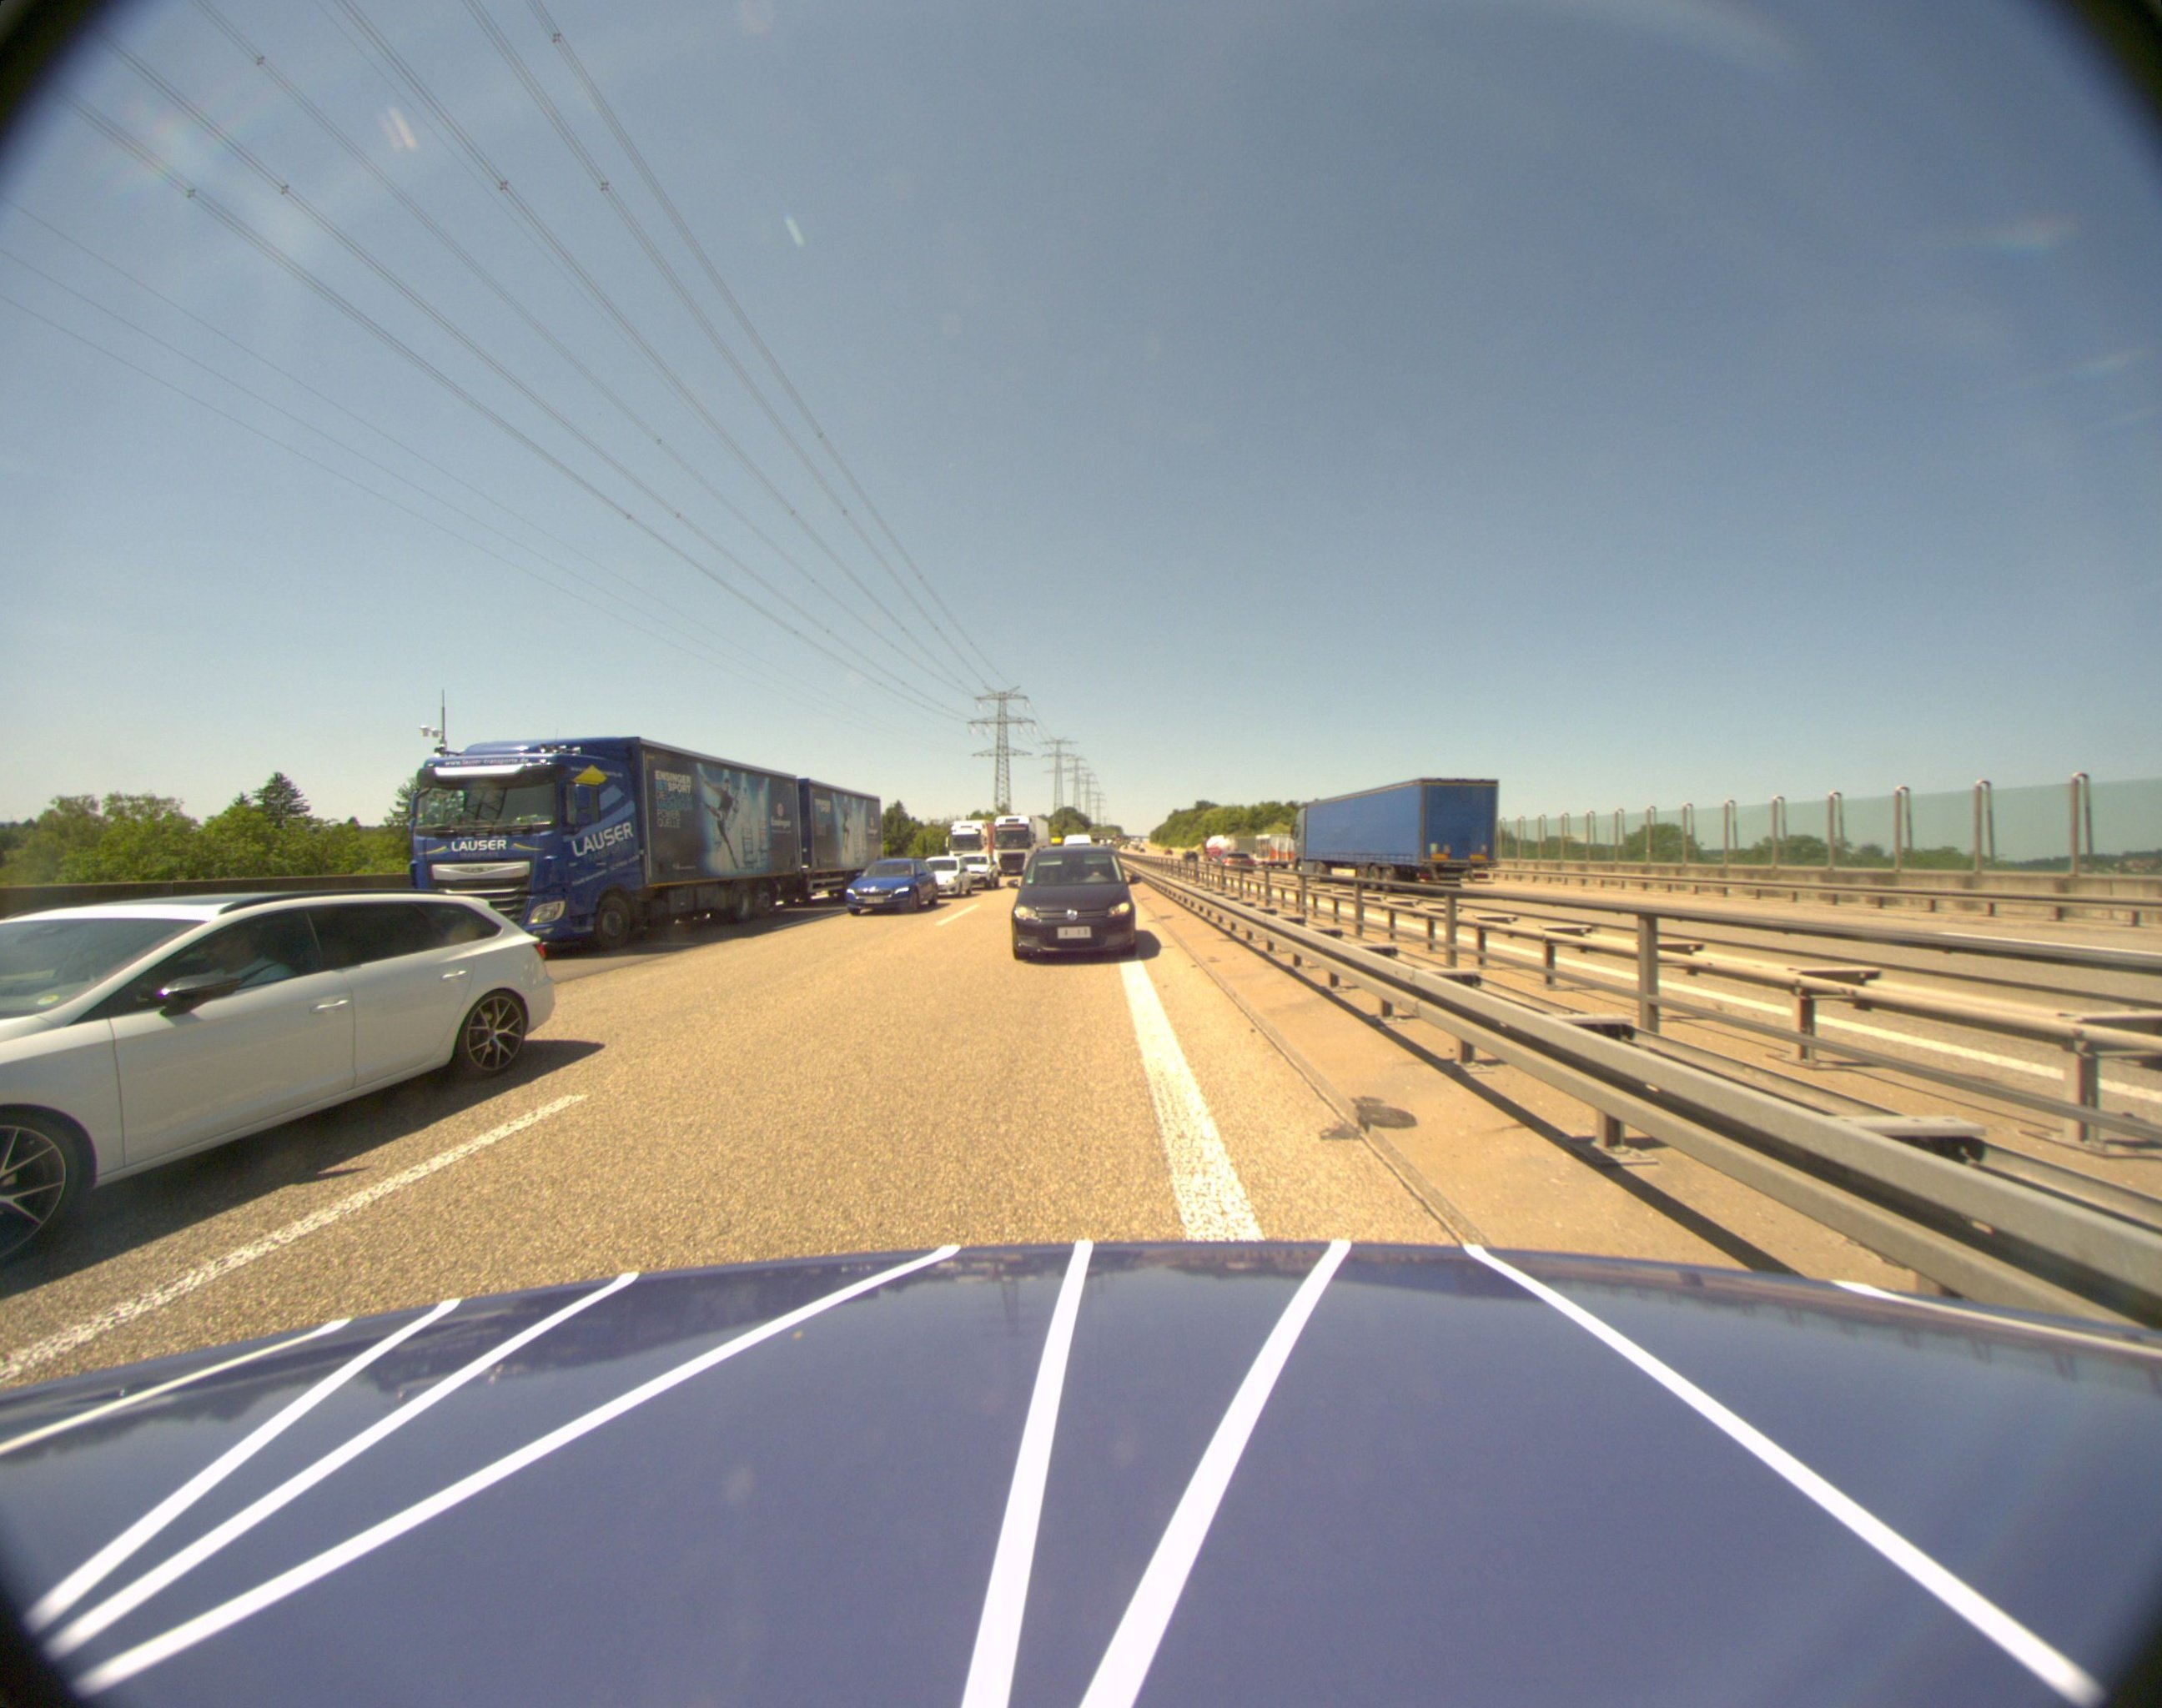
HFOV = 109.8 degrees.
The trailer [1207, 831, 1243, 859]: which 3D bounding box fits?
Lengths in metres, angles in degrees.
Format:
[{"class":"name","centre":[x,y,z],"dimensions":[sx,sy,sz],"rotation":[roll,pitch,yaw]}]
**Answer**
[{"class":"trailer","centre":[18.719,-1.200,99.566],"dimensions":[2.883,3.360,12.006],"rotation":[1,1,2]}]

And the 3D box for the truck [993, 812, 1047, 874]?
[{"class":"truck","centre":[-4.060,-0.770,52.390],"dimensions":[2.849,3.804,8.263],"rotation":[-2,1,1]}]

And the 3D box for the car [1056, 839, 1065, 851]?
[{"class":"car","centre":[-4.474,-1.998,167.064],"dimensions":[1.704,2.525,3.999],"rotation":[2,1,1]}]

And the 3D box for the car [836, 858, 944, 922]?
[{"class":"car","centre":[-5.205,0.910,21.401],"dimensions":[1.712,1.443,4.563],"rotation":[-2,1,2]}]

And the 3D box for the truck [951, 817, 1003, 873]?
[{"class":"truck","centre":[-7.917,-0.718,58.686],"dimensions":[2.608,3.965,8.263],"rotation":[-2,1,1]}]

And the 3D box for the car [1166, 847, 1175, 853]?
[{"class":"car","centre":[21.882,-0.955,185.350],"dimensions":[1.786,1.412,3.999],"rotation":[2,1,1]}]

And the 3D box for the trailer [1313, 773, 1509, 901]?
[{"class":"trailer","centre":[12.518,-0.640,30.652],"dimensions":[2.711,4.142,12.047],"rotation":[0,1,0]}]

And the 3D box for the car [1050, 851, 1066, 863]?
[{"class":"car","centre":[-3.140,0.364,105.050],"dimensions":[1.924,1.501,3.996],"rotation":[-2,1,2]}]

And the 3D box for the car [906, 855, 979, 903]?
[{"class":"car","centre":[-4.933,0.843,27.552],"dimensions":[1.712,1.443,4.144],"rotation":[-2,1,2]}]

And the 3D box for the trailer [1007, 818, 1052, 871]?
[{"class":"trailer","centre":[-4.007,-0.812,61.089],"dimensions":[2.822,3.830,9.083],"rotation":[-2,1,1]}]

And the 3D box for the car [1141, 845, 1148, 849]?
[{"class":"car","centre":[19.514,-2.148,232.741],"dimensions":[1.704,1.412,3.999],"rotation":[2,1,1]}]

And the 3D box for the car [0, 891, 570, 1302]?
[{"class":"car","centre":[-5.115,1.066,4.045],"dimensions":[1.713,1.443,4.429],"rotation":[-2,0,0]}]

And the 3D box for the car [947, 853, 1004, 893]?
[{"class":"car","centre":[-4.457,0.771,32.733],"dimensions":[1.712,1.501,4.144],"rotation":[-2,1,2]}]

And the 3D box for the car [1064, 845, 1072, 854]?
[{"class":"car","centre":[-3.355,-1.145,194.441],"dimensions":[1.704,2.116,3.999],"rotation":[2,1,1]}]

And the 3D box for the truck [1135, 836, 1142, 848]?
[{"class":"truck","centre":[18.365,-3.784,243.363],"dimensions":[1.704,3.612,10.215],"rotation":[2,1,1]}]

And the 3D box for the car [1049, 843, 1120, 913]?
[{"class":"car","centre":[0.125,0.581,21.124],"dimensions":[1.712,1.669,3.931],"rotation":[-2,1,1]}]

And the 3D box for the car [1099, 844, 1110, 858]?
[{"class":"car","centre":[3.779,-0.517,124.350],"dimensions":[1.704,2.116,3.999],"rotation":[-2,1,1]}]

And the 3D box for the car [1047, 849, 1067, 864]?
[{"class":"car","centre":[-2.667,0.262,86.156],"dimensions":[1.924,1.501,3.996],"rotation":[-2,1,2]}]

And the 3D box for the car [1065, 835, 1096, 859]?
[{"class":"car","centre":[0.002,-0.501,51.979],"dimensions":[1.924,1.501,3.996],"rotation":[-2,1,2]}]

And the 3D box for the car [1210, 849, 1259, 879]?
[{"class":"car","centre":[8.838,0.557,44.067],"dimensions":[1.886,1.543,4.188],"rotation":[-2,1,0]}]

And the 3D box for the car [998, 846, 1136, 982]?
[{"class":"car","centre":[-0.149,0.750,11.739],"dimensions":[1.712,1.669,3.931],"rotation":[-2,1,1]}]

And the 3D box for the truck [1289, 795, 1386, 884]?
[{"class":"truck","centre":[12.602,-0.715,37.888],"dimensions":[2.760,4.093,6.264],"rotation":[0,1,1]}]

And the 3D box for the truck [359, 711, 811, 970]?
[{"class":"truck","centre":[-9.574,-0.294,17.038],"dimensions":[2.859,3.927,10.393],"rotation":[-2,1,2]}]

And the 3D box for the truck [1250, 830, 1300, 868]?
[{"class":"truck","centre":[17.641,-0.507,69.643],"dimensions":[2.569,3.170,8.292],"rotation":[2,1,1]}]

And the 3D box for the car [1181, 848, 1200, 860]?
[{"class":"car","centre":[13.575,-0.038,94.274],"dimensions":[1.802,1.490,3.851],"rotation":[0,1,1]}]

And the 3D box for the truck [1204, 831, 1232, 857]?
[{"class":"truck","centre":[18.937,-1.401,105.030],"dimensions":[2.915,3.396,6.294],"rotation":[1,1,2]}]

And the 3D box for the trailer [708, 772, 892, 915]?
[{"class":"trailer","centre":[-9.290,-0.387,26.533],"dimensions":[2.835,4.066,8.637],"rotation":[-2,1,2]}]
